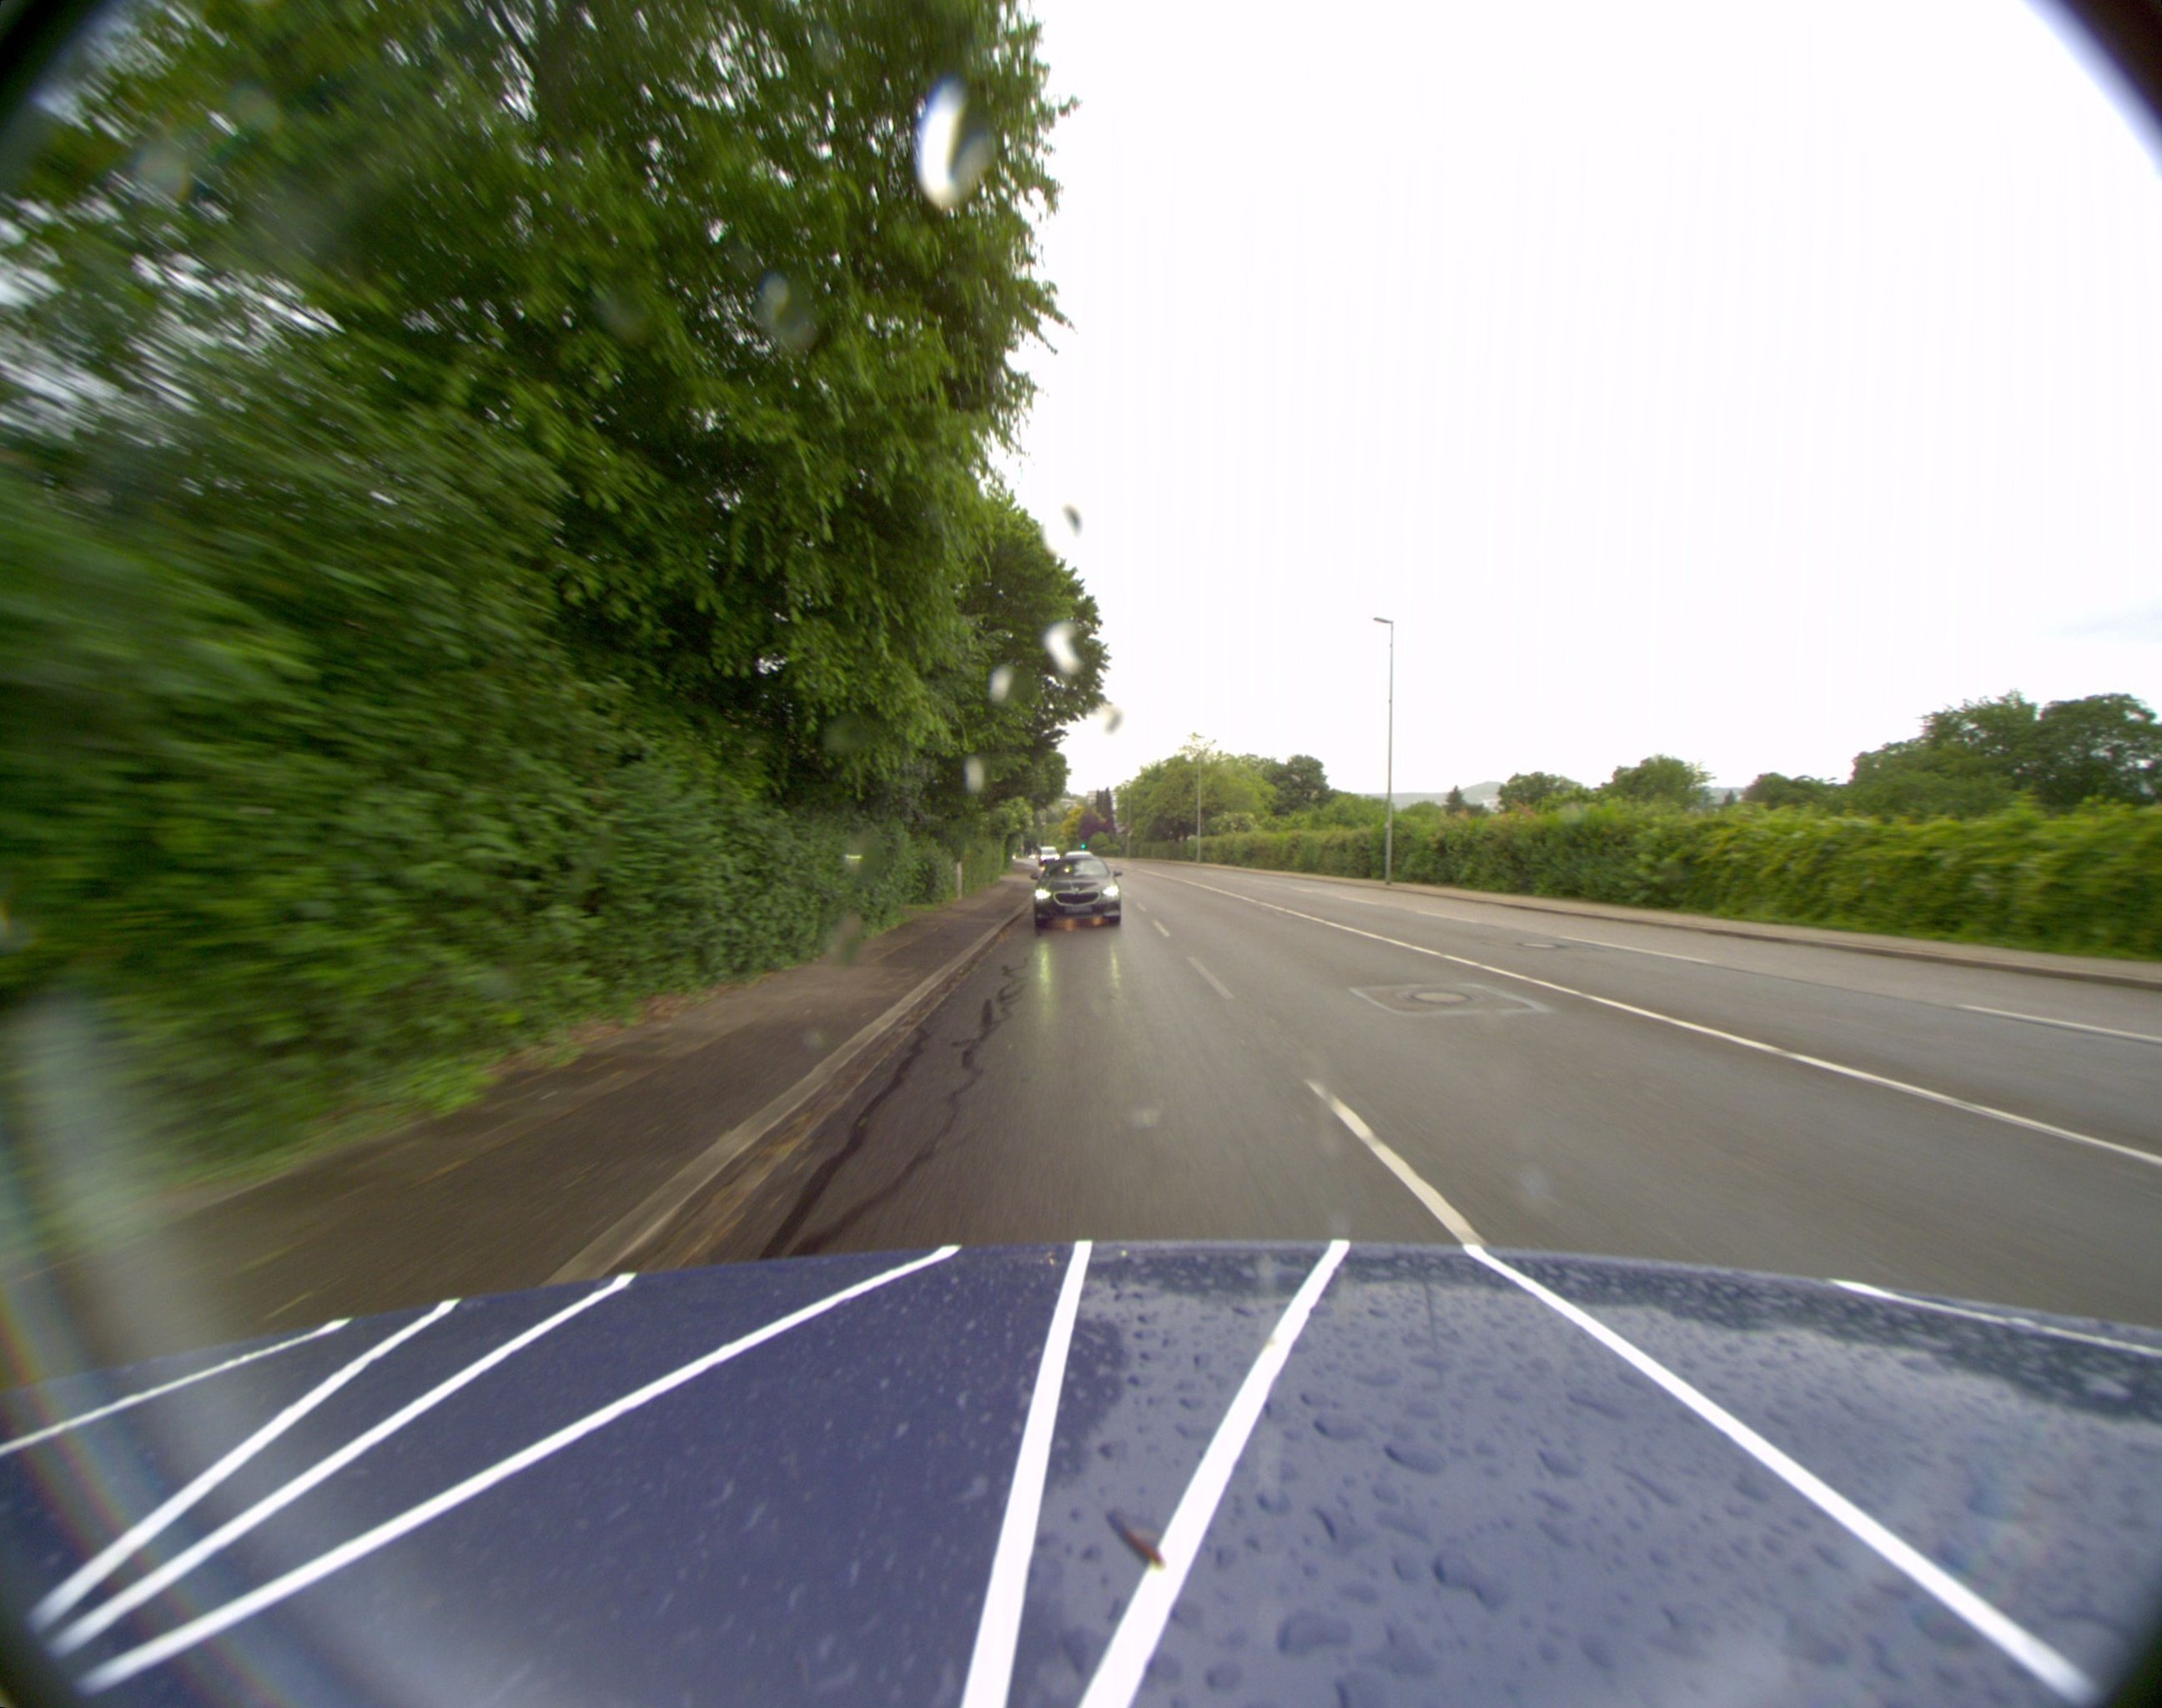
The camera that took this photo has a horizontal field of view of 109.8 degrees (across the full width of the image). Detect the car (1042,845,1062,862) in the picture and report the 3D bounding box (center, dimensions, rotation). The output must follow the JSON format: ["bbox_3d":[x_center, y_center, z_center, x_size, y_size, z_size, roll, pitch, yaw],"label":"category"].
[{"bbox_3d":[-2.859,-0.074,75.013,1.704,1.670,4.280,-1,1,-6],"label":"car"}]

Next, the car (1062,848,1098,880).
[{"bbox_3d":[-0.090,0.474,39.518,1.551,1.505,4.280,0,1,-5],"label":"car"}]

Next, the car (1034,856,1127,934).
[{"bbox_3d":[-0.115,0.845,17.811,1.846,1.371,4.280,-3,2,-3],"label":"car"}]
